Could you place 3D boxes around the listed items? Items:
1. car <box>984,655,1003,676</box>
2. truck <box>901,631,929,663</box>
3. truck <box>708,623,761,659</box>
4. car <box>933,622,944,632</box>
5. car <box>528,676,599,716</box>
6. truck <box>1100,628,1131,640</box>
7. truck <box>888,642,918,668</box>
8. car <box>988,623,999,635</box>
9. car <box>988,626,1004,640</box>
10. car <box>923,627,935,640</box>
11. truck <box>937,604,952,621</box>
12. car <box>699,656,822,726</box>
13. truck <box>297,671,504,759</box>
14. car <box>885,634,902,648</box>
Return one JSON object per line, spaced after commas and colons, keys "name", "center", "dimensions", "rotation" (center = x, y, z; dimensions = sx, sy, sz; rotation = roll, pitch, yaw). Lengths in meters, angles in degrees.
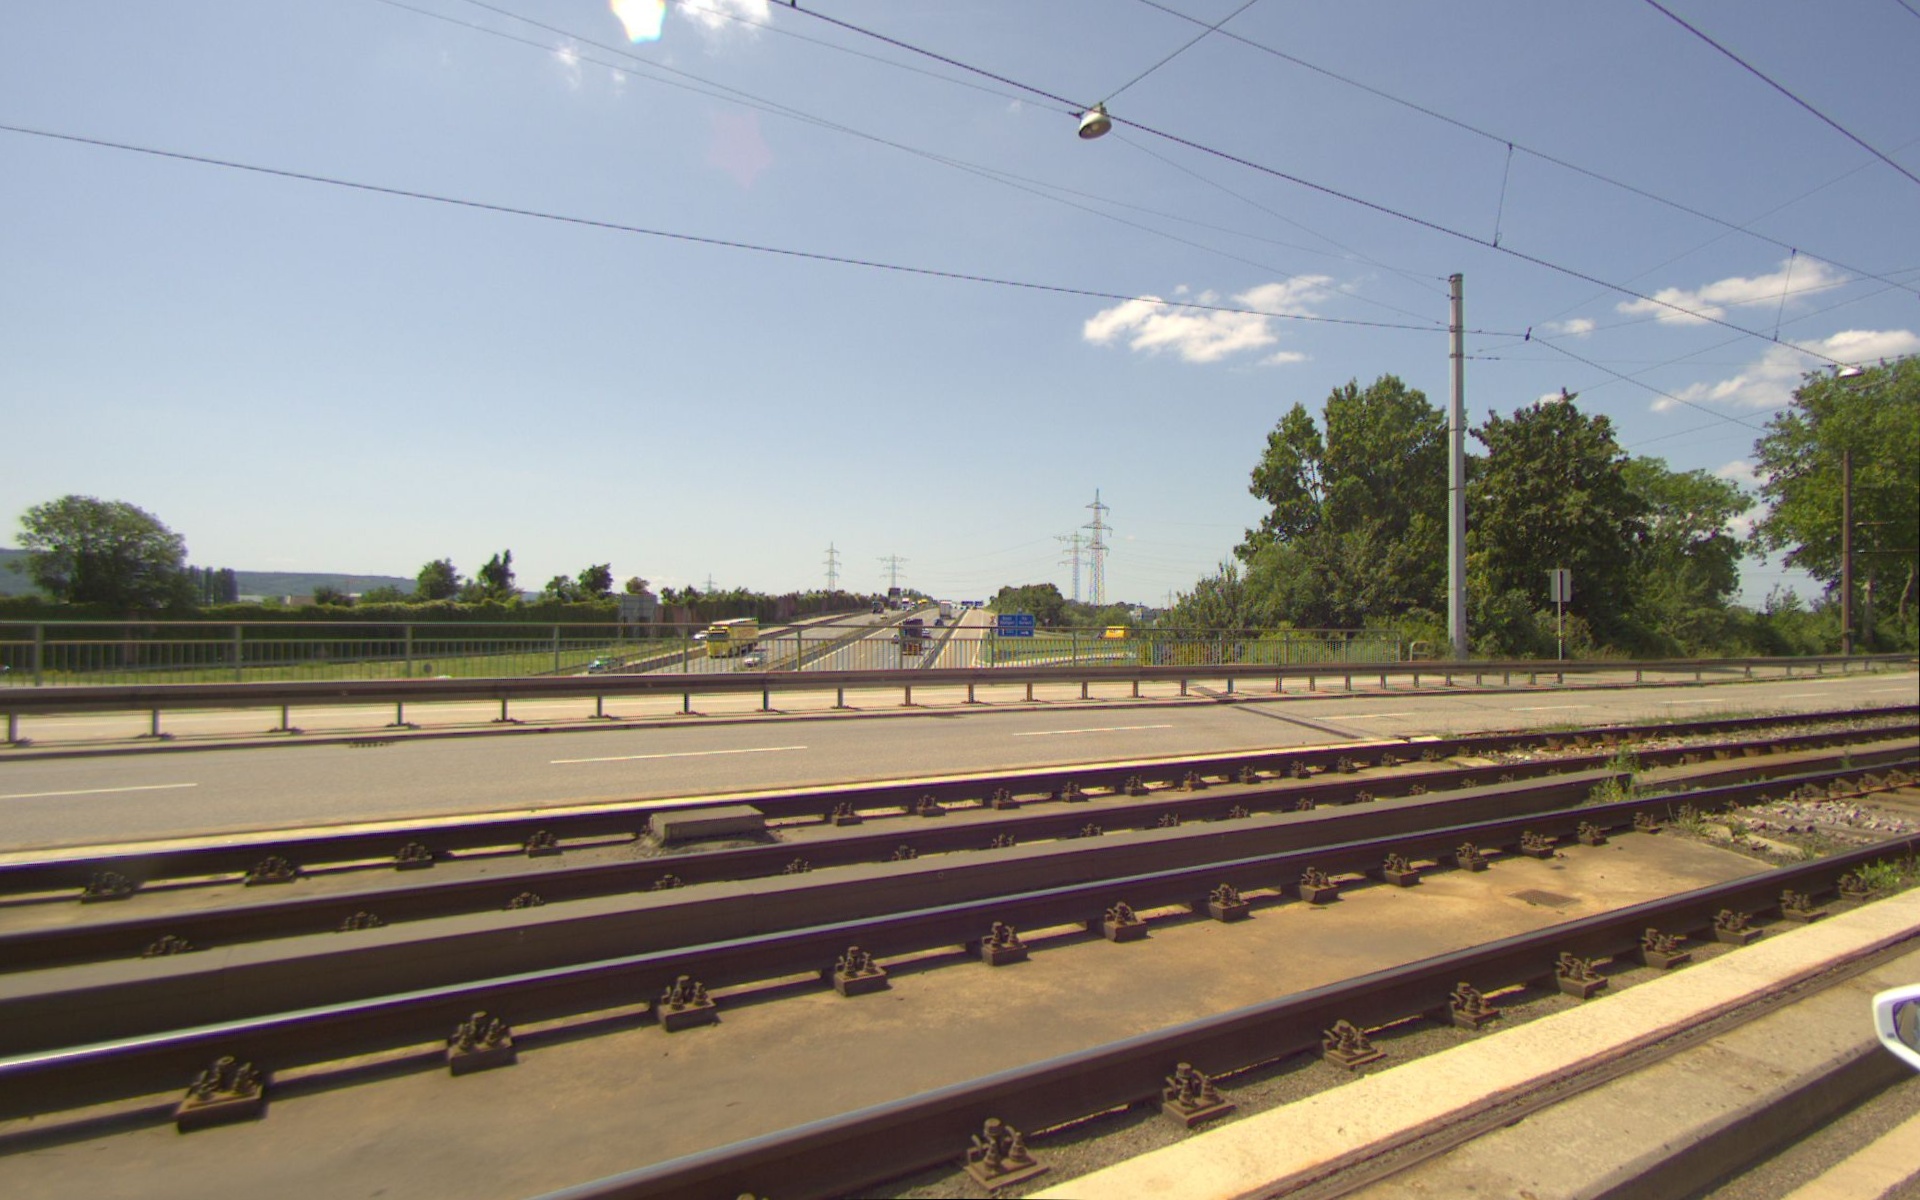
{"name": "car", "center": [3.903, 7.561, 116.808], "dimensions": [1.960, 2.040, 4.001], "rotation": [3, 1, 5]}
{"name": "truck", "center": [-5.954, 6.156, 132.833], "dimensions": [2.735, 3.499, 6.587], "rotation": [3, 2, 4]}
{"name": "truck", "center": [-28.005, 5.025, 125.869], "dimensions": [2.588, 3.811, 16.554], "rotation": [1, 0, 1]}
{"name": "car", "center": [-4.593, 5.691, 212.805], "dimensions": [1.896, 1.665, 4.001], "rotation": [3, 4, 5]}
{"name": "car", "center": [-26.045, 6.284, 66.220], "dimensions": [2.069, 2.040, 5.399], "rotation": [1, 0, 6]}
{"name": "truck", "center": [25.603, 5.624, 165.553], "dimensions": [1.938, 1.792, 4.739], "rotation": [-1, 2, -44]}
{"name": "truck", "center": [-6.862, 6.689, 122.577], "dimensions": [2.835, 2.239, 6.450], "rotation": [3, 4, 3]}
{"name": "car", "center": [5.867, 5.120, 177.233], "dimensions": [1.706, 1.665, 3.999], "rotation": [2, 4, 0]}
{"name": "car", "center": [5.306, 4.855, 147.336], "dimensions": [1.705, 1.665, 4.001], "rotation": [3, 4, 9]}
{"name": "car", "center": [-5.102, 5.453, 164.916], "dimensions": [1.706, 1.664, 3.999], "rotation": [4, 4, 0]}
{"name": "truck", "center": [-3.745, 3.133, 250.449], "dimensions": [3.592, 3.756, 8.199], "rotation": [1, 2, 0]}
{"name": "car", "center": [-18.181, 8.171, 94.835], "dimensions": [4.919, 4.547, 22.468], "rotation": [1, 0, 6]}
{"name": "truck", "center": [-30.401, 6.083, 55.835], "dimensions": [2.693, 3.268, 13.734], "rotation": [1, 0, 6]}
{"name": "car", "center": [-9.567, 5.887, 144.810], "dimensions": [1.564, 1.665, 4.001], "rotation": [3, 4, 6]}
